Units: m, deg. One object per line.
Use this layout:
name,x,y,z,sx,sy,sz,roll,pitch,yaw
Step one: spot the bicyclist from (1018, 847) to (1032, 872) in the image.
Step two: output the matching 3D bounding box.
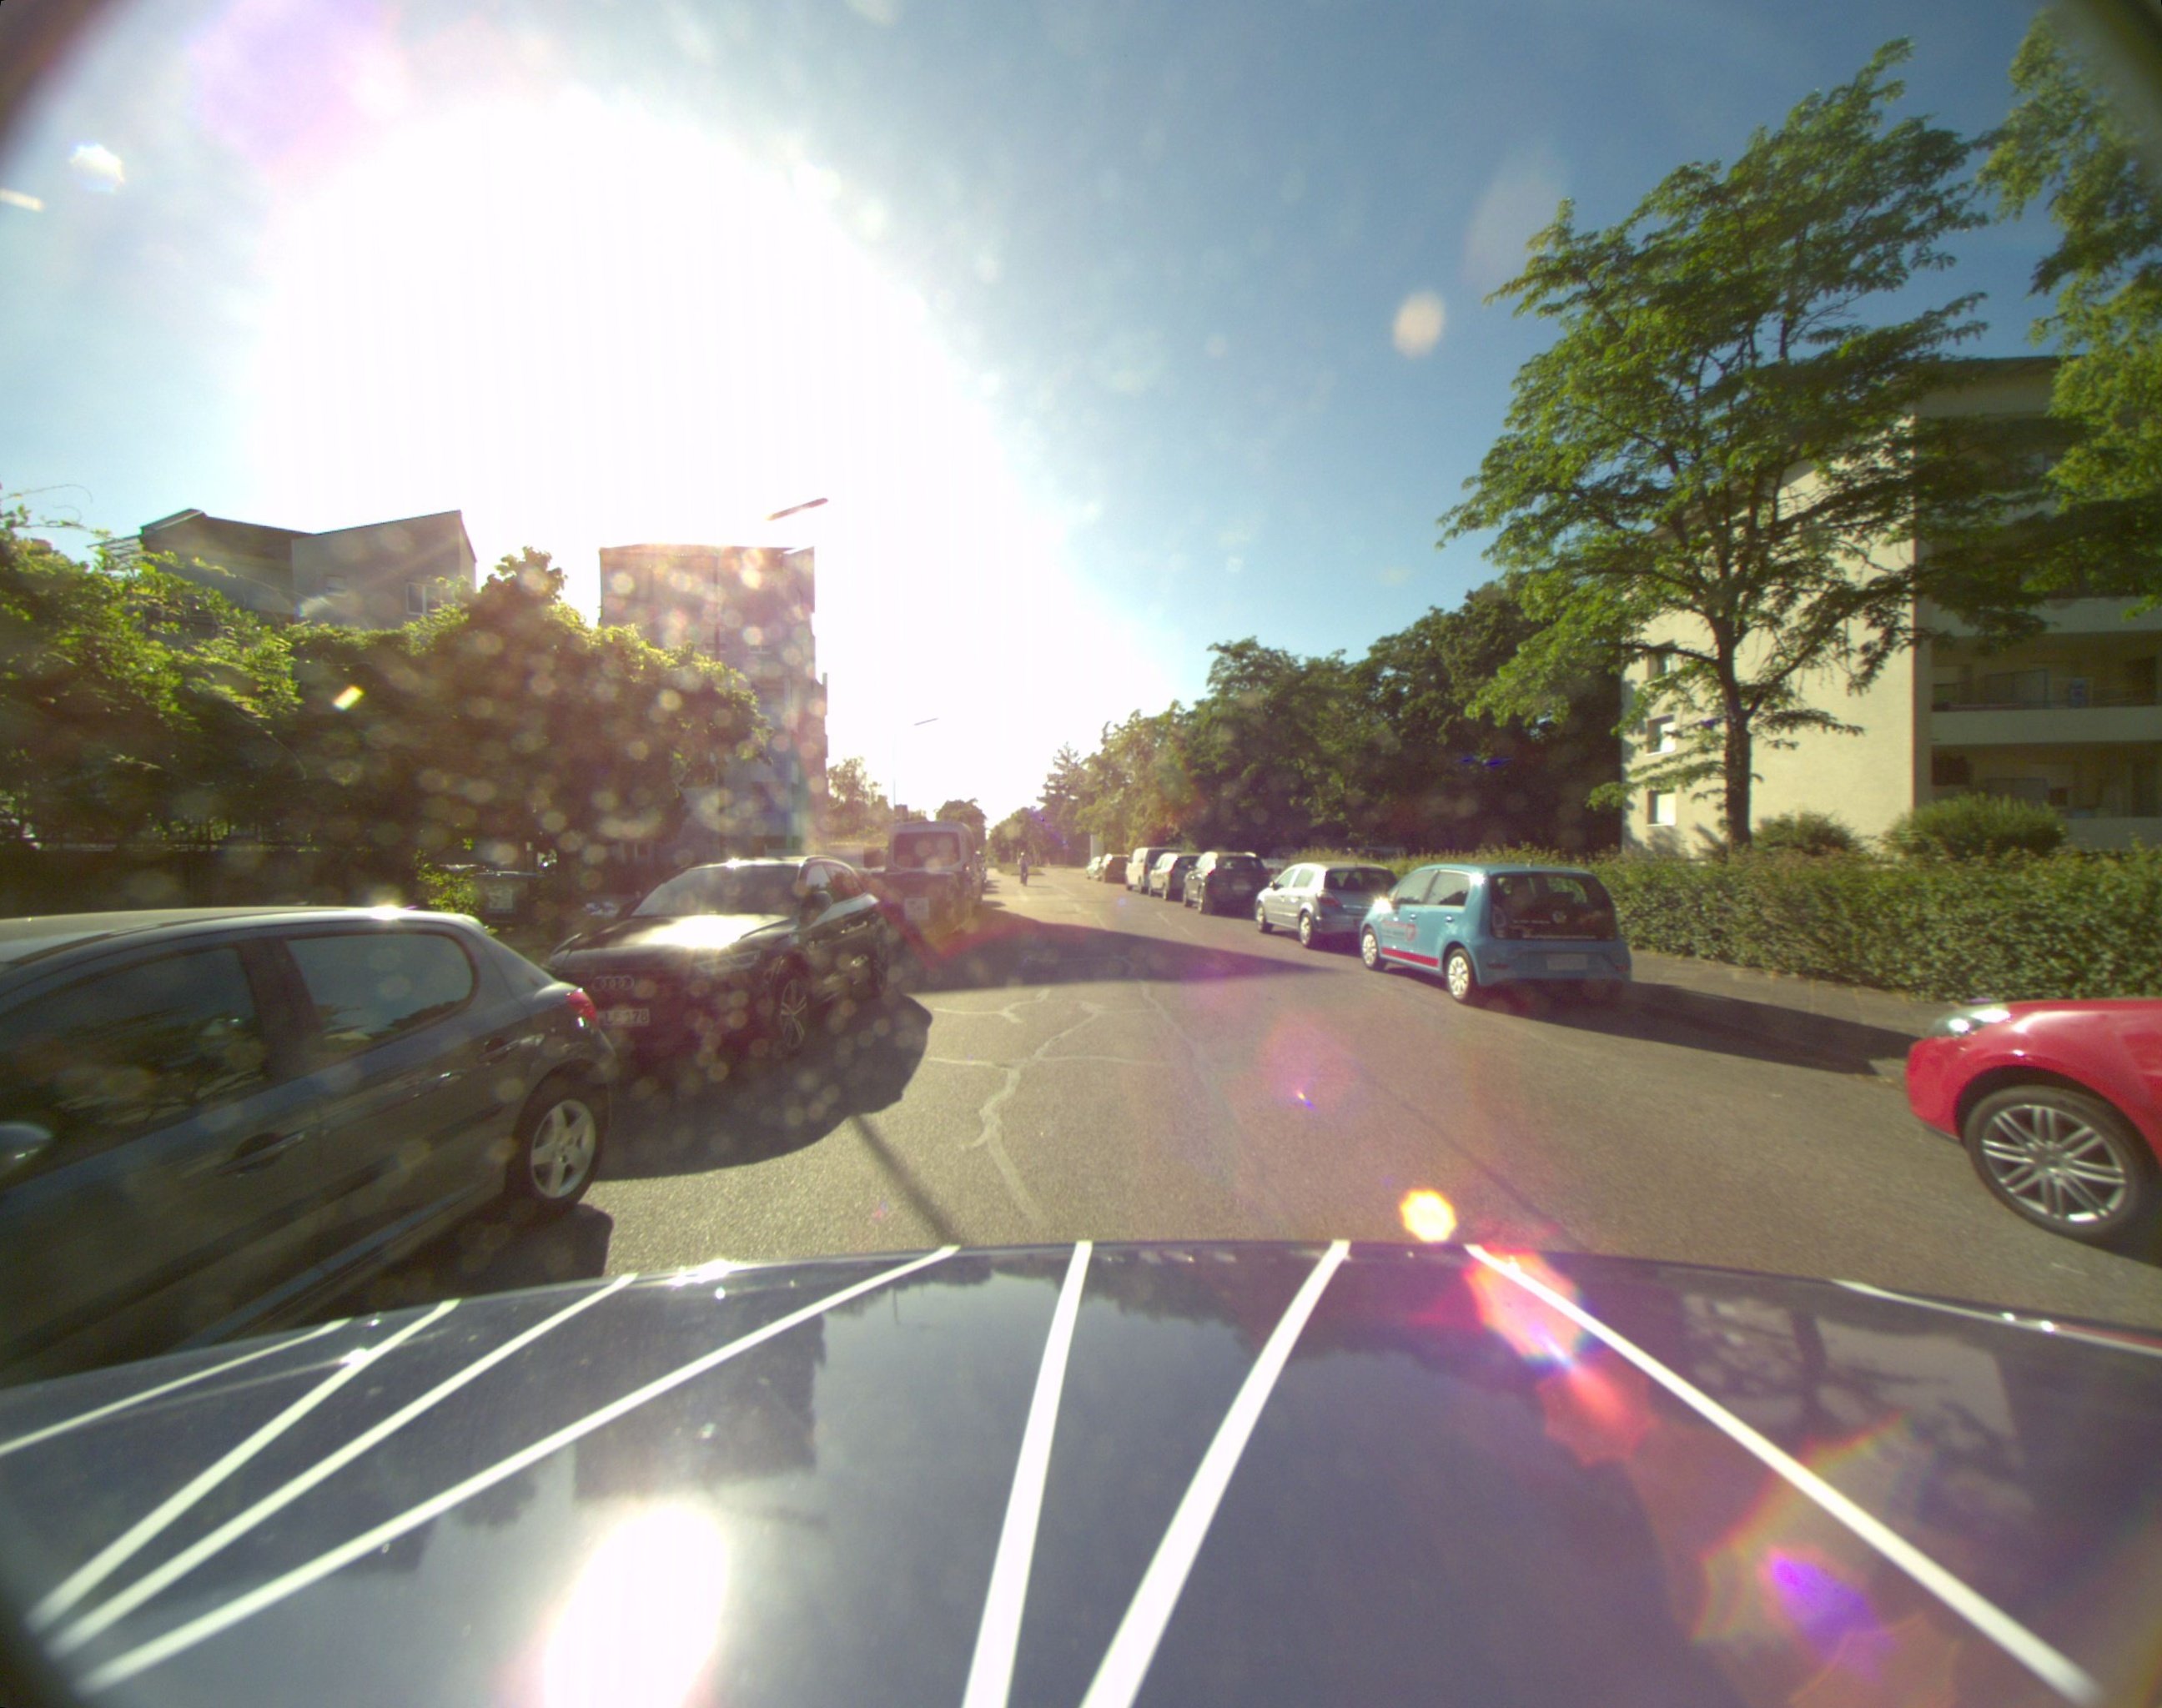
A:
bicyclist,-2.960,0.278,40.216,0.639,1.339,0.837,-1,1,-12

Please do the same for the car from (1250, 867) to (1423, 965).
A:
car,4.467,1.014,13.954,1.675,1.428,3.998,1,0,-3

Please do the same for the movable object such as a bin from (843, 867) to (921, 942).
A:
movable object such as a bin,-4.058,1.008,15.602,1.110,1.411,1.360,-2,0,3

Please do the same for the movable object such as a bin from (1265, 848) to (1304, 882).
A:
movable object such as a bin,9.339,0.490,34.887,1.263,1.542,1.278,-1,1,-12

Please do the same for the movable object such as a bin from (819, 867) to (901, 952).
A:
movable object such as a bin,-4.144,1.021,14.346,1.094,1.440,1.170,-2,2,4

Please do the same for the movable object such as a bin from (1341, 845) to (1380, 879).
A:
movable object such as a bin,12.656,0.359,34.457,1.262,1.480,1.279,-1,1,-5

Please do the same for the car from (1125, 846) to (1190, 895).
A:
car,3.189,0.643,32.686,1.869,1.949,4.668,0,0,-6

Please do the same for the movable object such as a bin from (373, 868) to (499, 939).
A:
movable object such as a bin,-13.416,1.002,15.868,1.430,1.366,1.382,1,1,1

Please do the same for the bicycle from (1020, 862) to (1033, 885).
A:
bicycle,-2.894,1.016,40.151,0.458,1.138,1.896,0,0,-11

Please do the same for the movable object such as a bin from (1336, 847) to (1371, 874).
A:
movable object such as a bin,14.107,0.323,39.397,1.279,1.347,1.509,-1,1,1

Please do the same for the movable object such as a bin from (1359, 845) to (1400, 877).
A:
movable object such as a bin,14.171,0.305,36.129,1.279,1.480,1.509,-1,1,-3

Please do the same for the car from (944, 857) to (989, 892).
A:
car,-5.313,0.922,35.711,1.916,1.480,4.372,-1,1,-7

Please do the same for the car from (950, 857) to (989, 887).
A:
car,-5.979,0.914,41.100,1.916,1.480,4.372,-1,1,-7

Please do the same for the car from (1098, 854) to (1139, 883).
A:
car,2.168,0.827,45.309,1.680,1.629,4.247,1,0,-7

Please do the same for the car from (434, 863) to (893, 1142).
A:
car,-3.204,0.971,7.074,1.814,1.654,4.461,-2,0,-1

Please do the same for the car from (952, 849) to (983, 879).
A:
car,-7.876,0.646,52.813,2.000,1.901,4.949,-1,1,-9

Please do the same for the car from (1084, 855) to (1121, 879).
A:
car,1.419,0.833,50.905,1.632,1.518,3.415,0,0,-13

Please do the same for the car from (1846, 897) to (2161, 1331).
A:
car,4.682,0.971,1.952,1.675,1.465,3.677,1,1,-1

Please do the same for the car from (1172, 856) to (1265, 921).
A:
car,3.738,0.874,21.402,1.753,1.608,4.362,0,0,-1

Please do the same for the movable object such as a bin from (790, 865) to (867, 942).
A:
movable object such as a bin,-5.160,0.986,15.655,1.043,1.440,1.418,1,2,3

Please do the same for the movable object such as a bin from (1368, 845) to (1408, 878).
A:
movable object such as a bin,13.976,0.332,34.613,1.262,1.480,1.279,-1,1,-5

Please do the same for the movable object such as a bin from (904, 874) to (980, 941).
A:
movable object such as a bin,-2.824,1.071,15.631,1.272,1.306,1.123,0,-1,5

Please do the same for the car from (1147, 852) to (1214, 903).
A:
car,3.540,0.791,27.686,1.560,1.712,4.338,0,0,-4

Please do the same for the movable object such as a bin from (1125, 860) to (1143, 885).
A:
movable object such as a bin,2.787,0.958,39.911,0.805,1.308,1.321,-1,0,-1

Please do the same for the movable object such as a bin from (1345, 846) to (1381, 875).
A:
movable object such as a bin,14.002,0.318,37.783,1.279,1.401,1.509,-1,1,1

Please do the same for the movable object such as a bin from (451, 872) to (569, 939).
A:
movable object such as a bin,-11.967,1.055,16.000,1.416,1.298,1.382,0,1,1

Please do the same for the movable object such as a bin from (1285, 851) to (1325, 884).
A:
movable object such as a bin,9.733,0.584,33.062,1.280,1.393,1.261,-1,1,-8

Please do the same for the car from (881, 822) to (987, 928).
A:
car,-3.862,0.481,21.107,2.111,2.472,5.853,-2,1,-4

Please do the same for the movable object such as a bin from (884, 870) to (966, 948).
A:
movable object such as a bin,-2.947,1.021,14.466,1.231,1.389,1.170,0,1,5

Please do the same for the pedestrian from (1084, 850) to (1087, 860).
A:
pedestrian,0.722,0.172,112.977,0.396,1.552,0.538,0,2,-6

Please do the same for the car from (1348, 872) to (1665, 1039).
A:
car,4.690,1.013,9.061,1.675,1.465,3.677,1,1,-1

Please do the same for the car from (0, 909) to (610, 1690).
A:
car,-3.166,1.068,1.787,1.689,1.479,3.823,-3,1,-1
